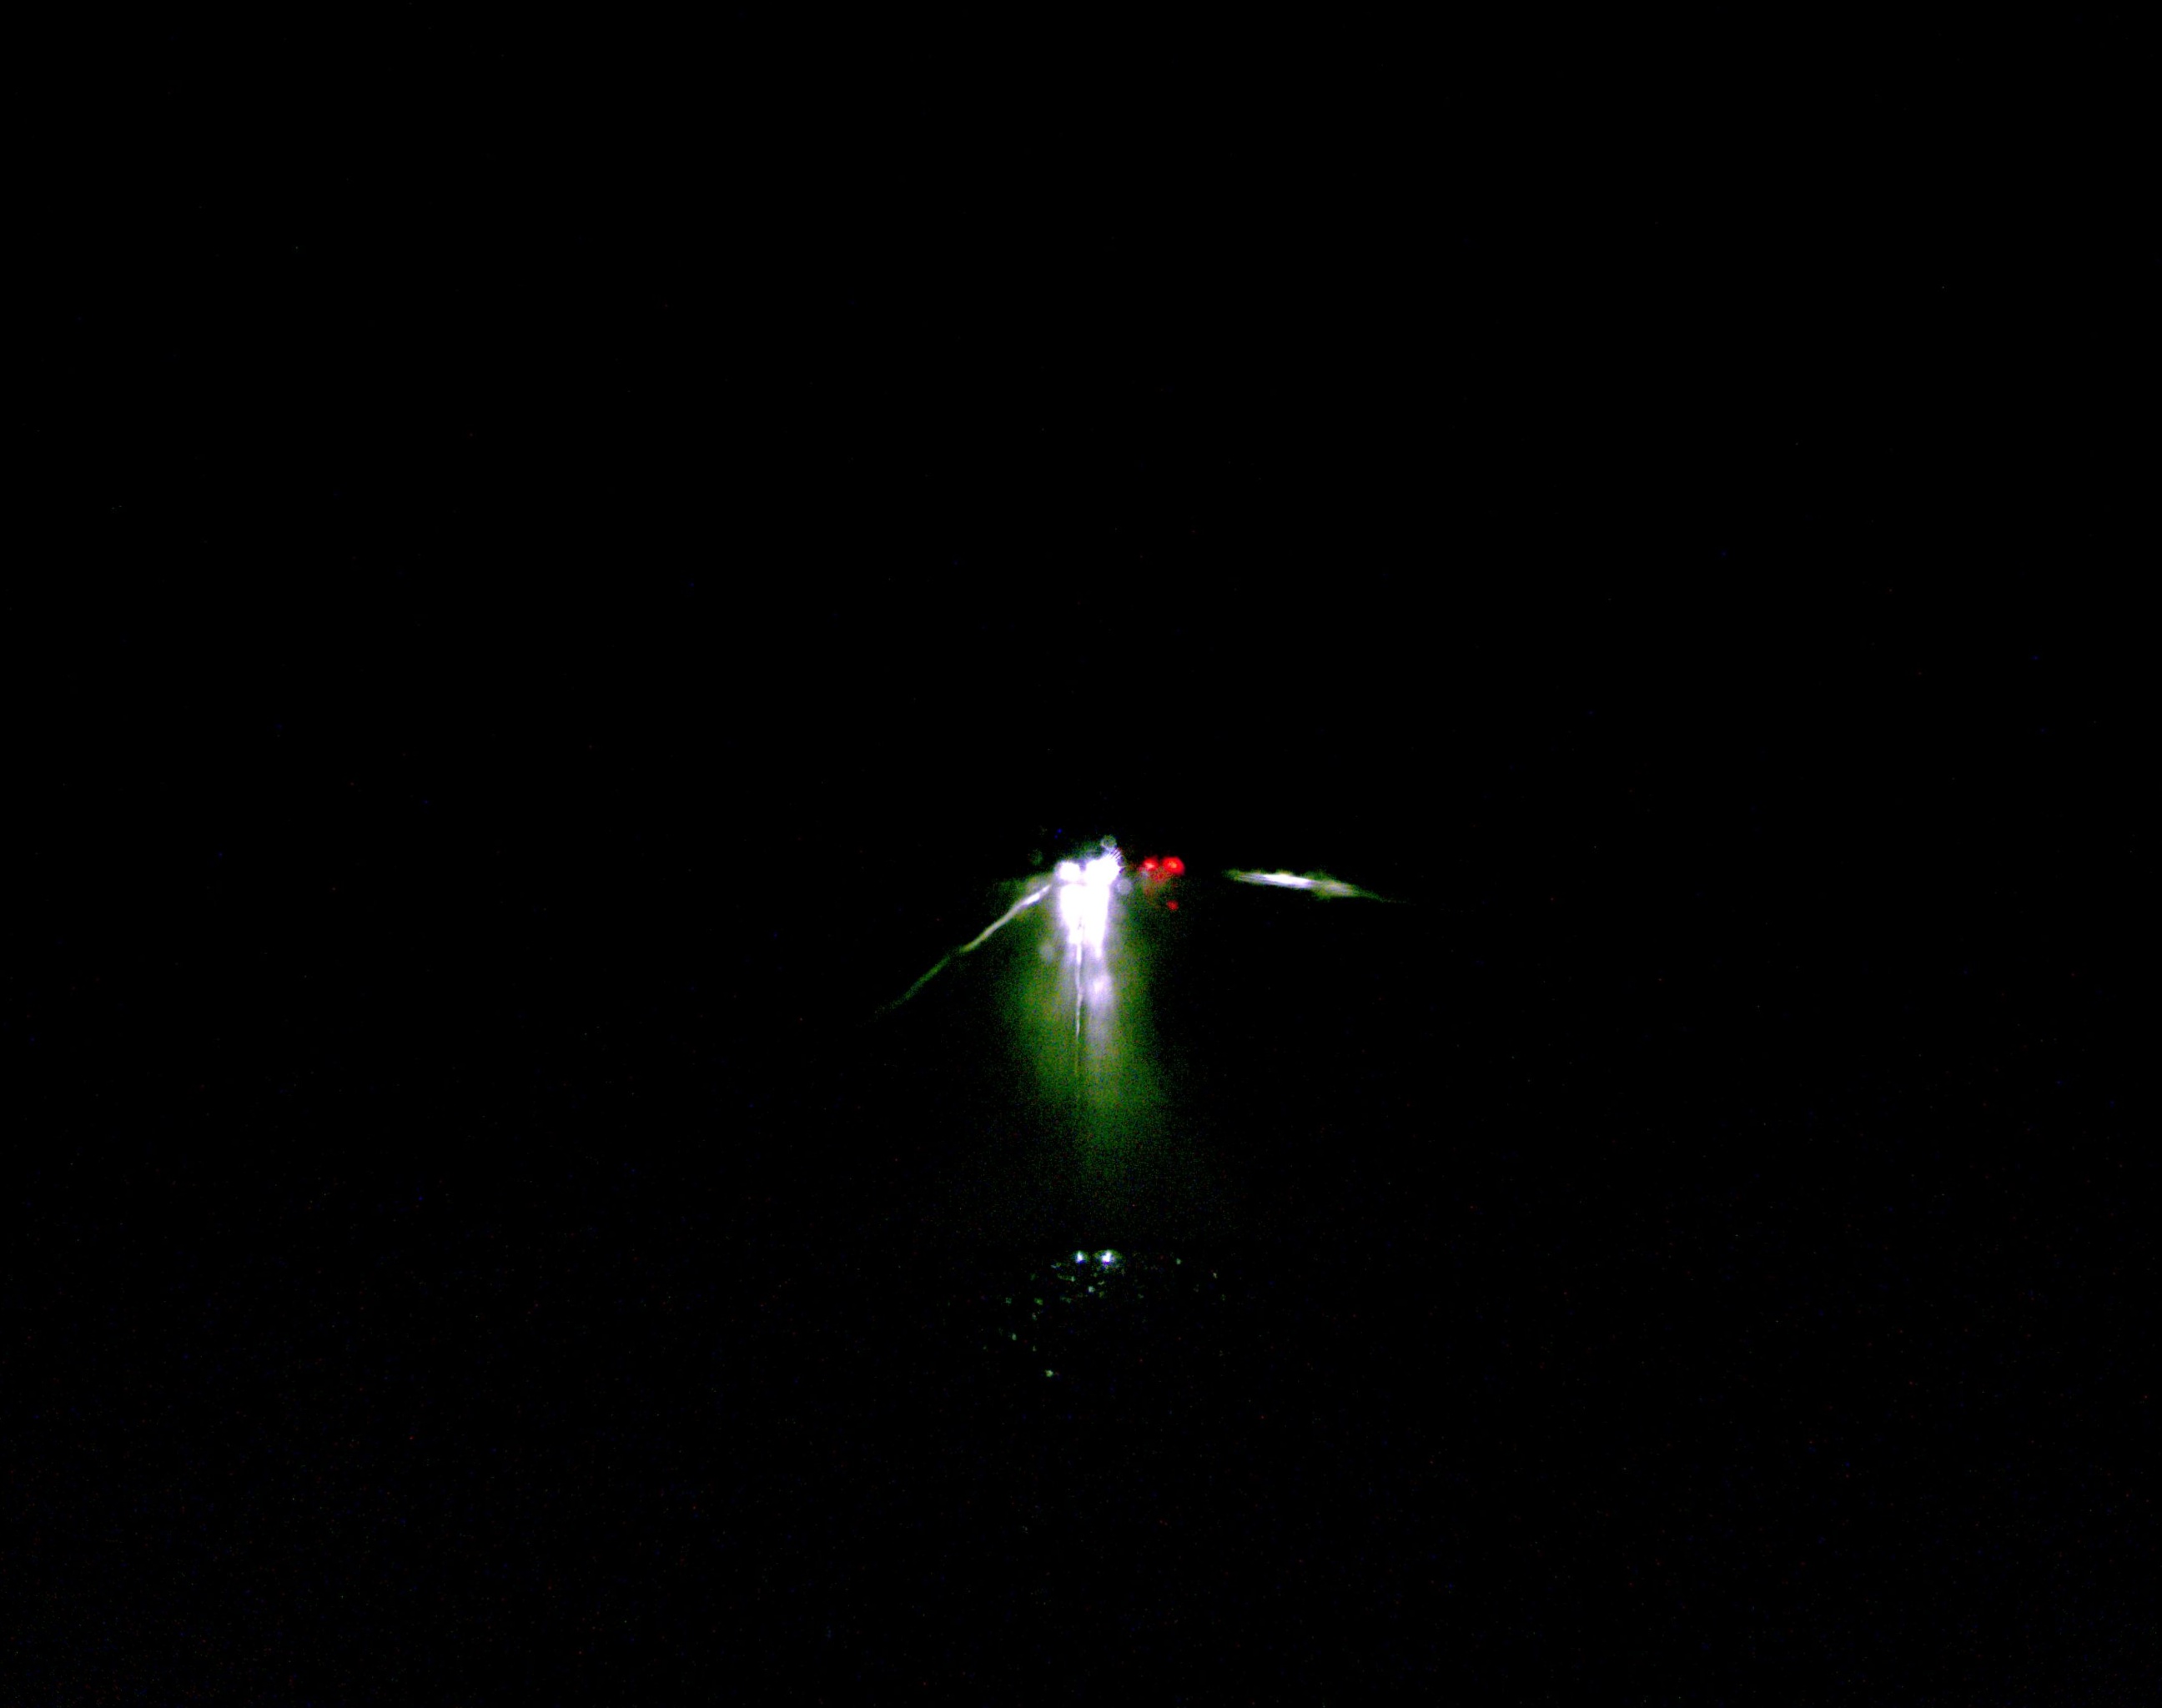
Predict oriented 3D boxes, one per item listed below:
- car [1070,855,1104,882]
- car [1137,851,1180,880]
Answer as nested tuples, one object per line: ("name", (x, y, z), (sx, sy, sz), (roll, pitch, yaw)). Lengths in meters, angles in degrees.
("car", (0.336, 0.906, 46.386), (1.901, 1.551, 4.000), (1, -2, -2))
("car", (4.304, 0.637, 42.877), (1.805, 1.570, 4.456), (-1, -1, -3))
